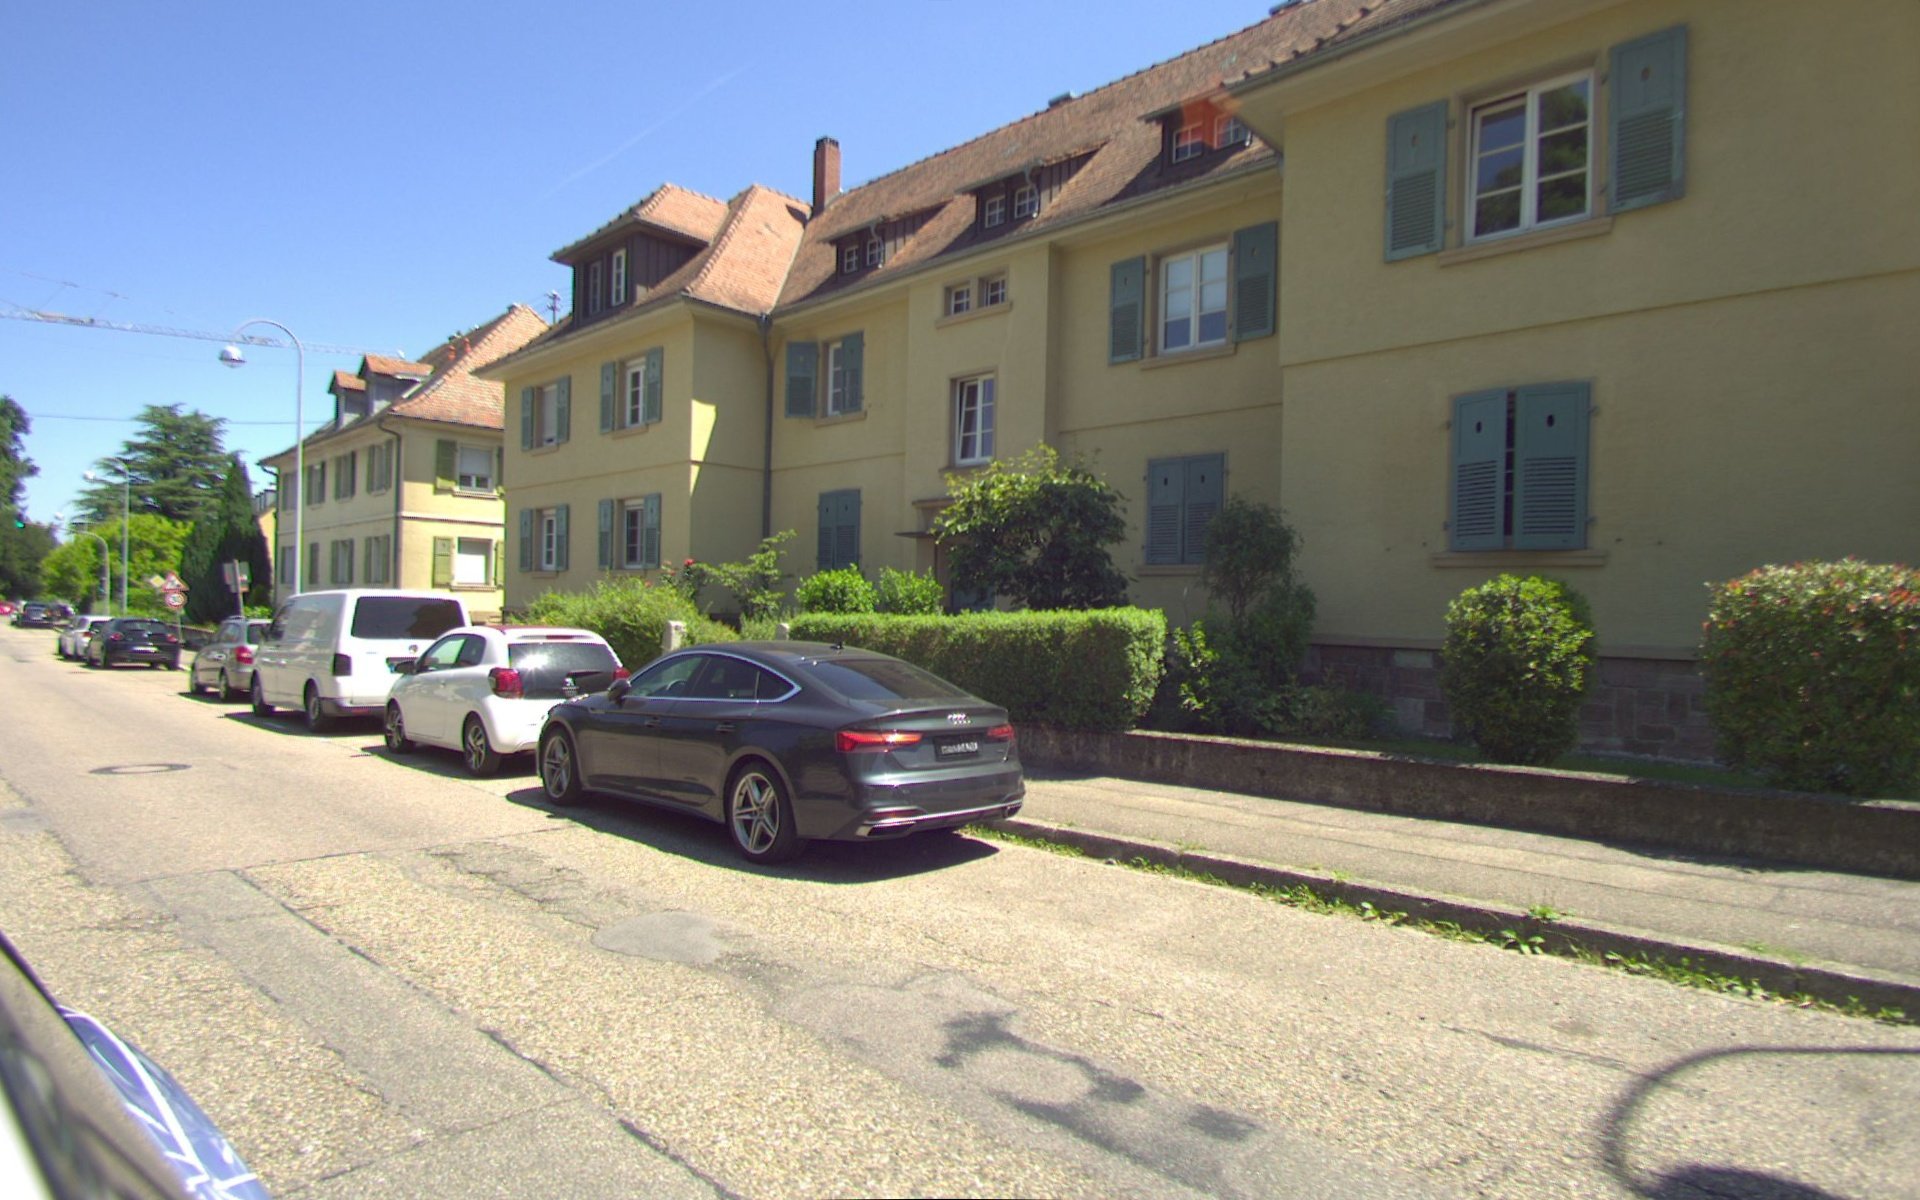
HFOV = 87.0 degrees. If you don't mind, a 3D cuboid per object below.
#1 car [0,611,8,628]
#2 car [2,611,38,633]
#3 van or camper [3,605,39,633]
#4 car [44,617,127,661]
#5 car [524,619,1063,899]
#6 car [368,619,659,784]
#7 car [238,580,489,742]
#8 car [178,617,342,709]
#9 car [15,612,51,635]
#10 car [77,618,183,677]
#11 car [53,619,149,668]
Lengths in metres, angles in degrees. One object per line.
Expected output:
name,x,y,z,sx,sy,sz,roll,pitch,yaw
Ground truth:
car,-97.553,1.962,101.978,1.730,1.630,3.583,2,-2,-33
car,-69.032,1.606,74.363,1.660,1.452,4.254,4,-3,-40
van or camper,-65.064,1.284,70.187,1.660,1.818,3.990,4,-3,-42
car,-31.307,1.377,36.193,3.924,1.458,1.740,0,-3,43
car,-1.499,0.904,7.627,4.466,1.504,1.647,-1,-2,43
car,-4.966,0.990,11.064,3.478,1.504,1.647,-1,-4,43
car,-8.773,0.828,14.694,4.626,1.978,1.857,-1,-4,44
car,-13.283,1.145,19.114,4.063,1.537,1.668,-1,-4,43
car,-61.664,1.546,67.307,1.661,1.423,3.930,4,-3,-44
car,-23.646,1.317,28.778,4.076,1.496,1.697,0,-3,42
car,-27.538,1.372,32.395,4.219,1.413,1.775,0,-3,43
